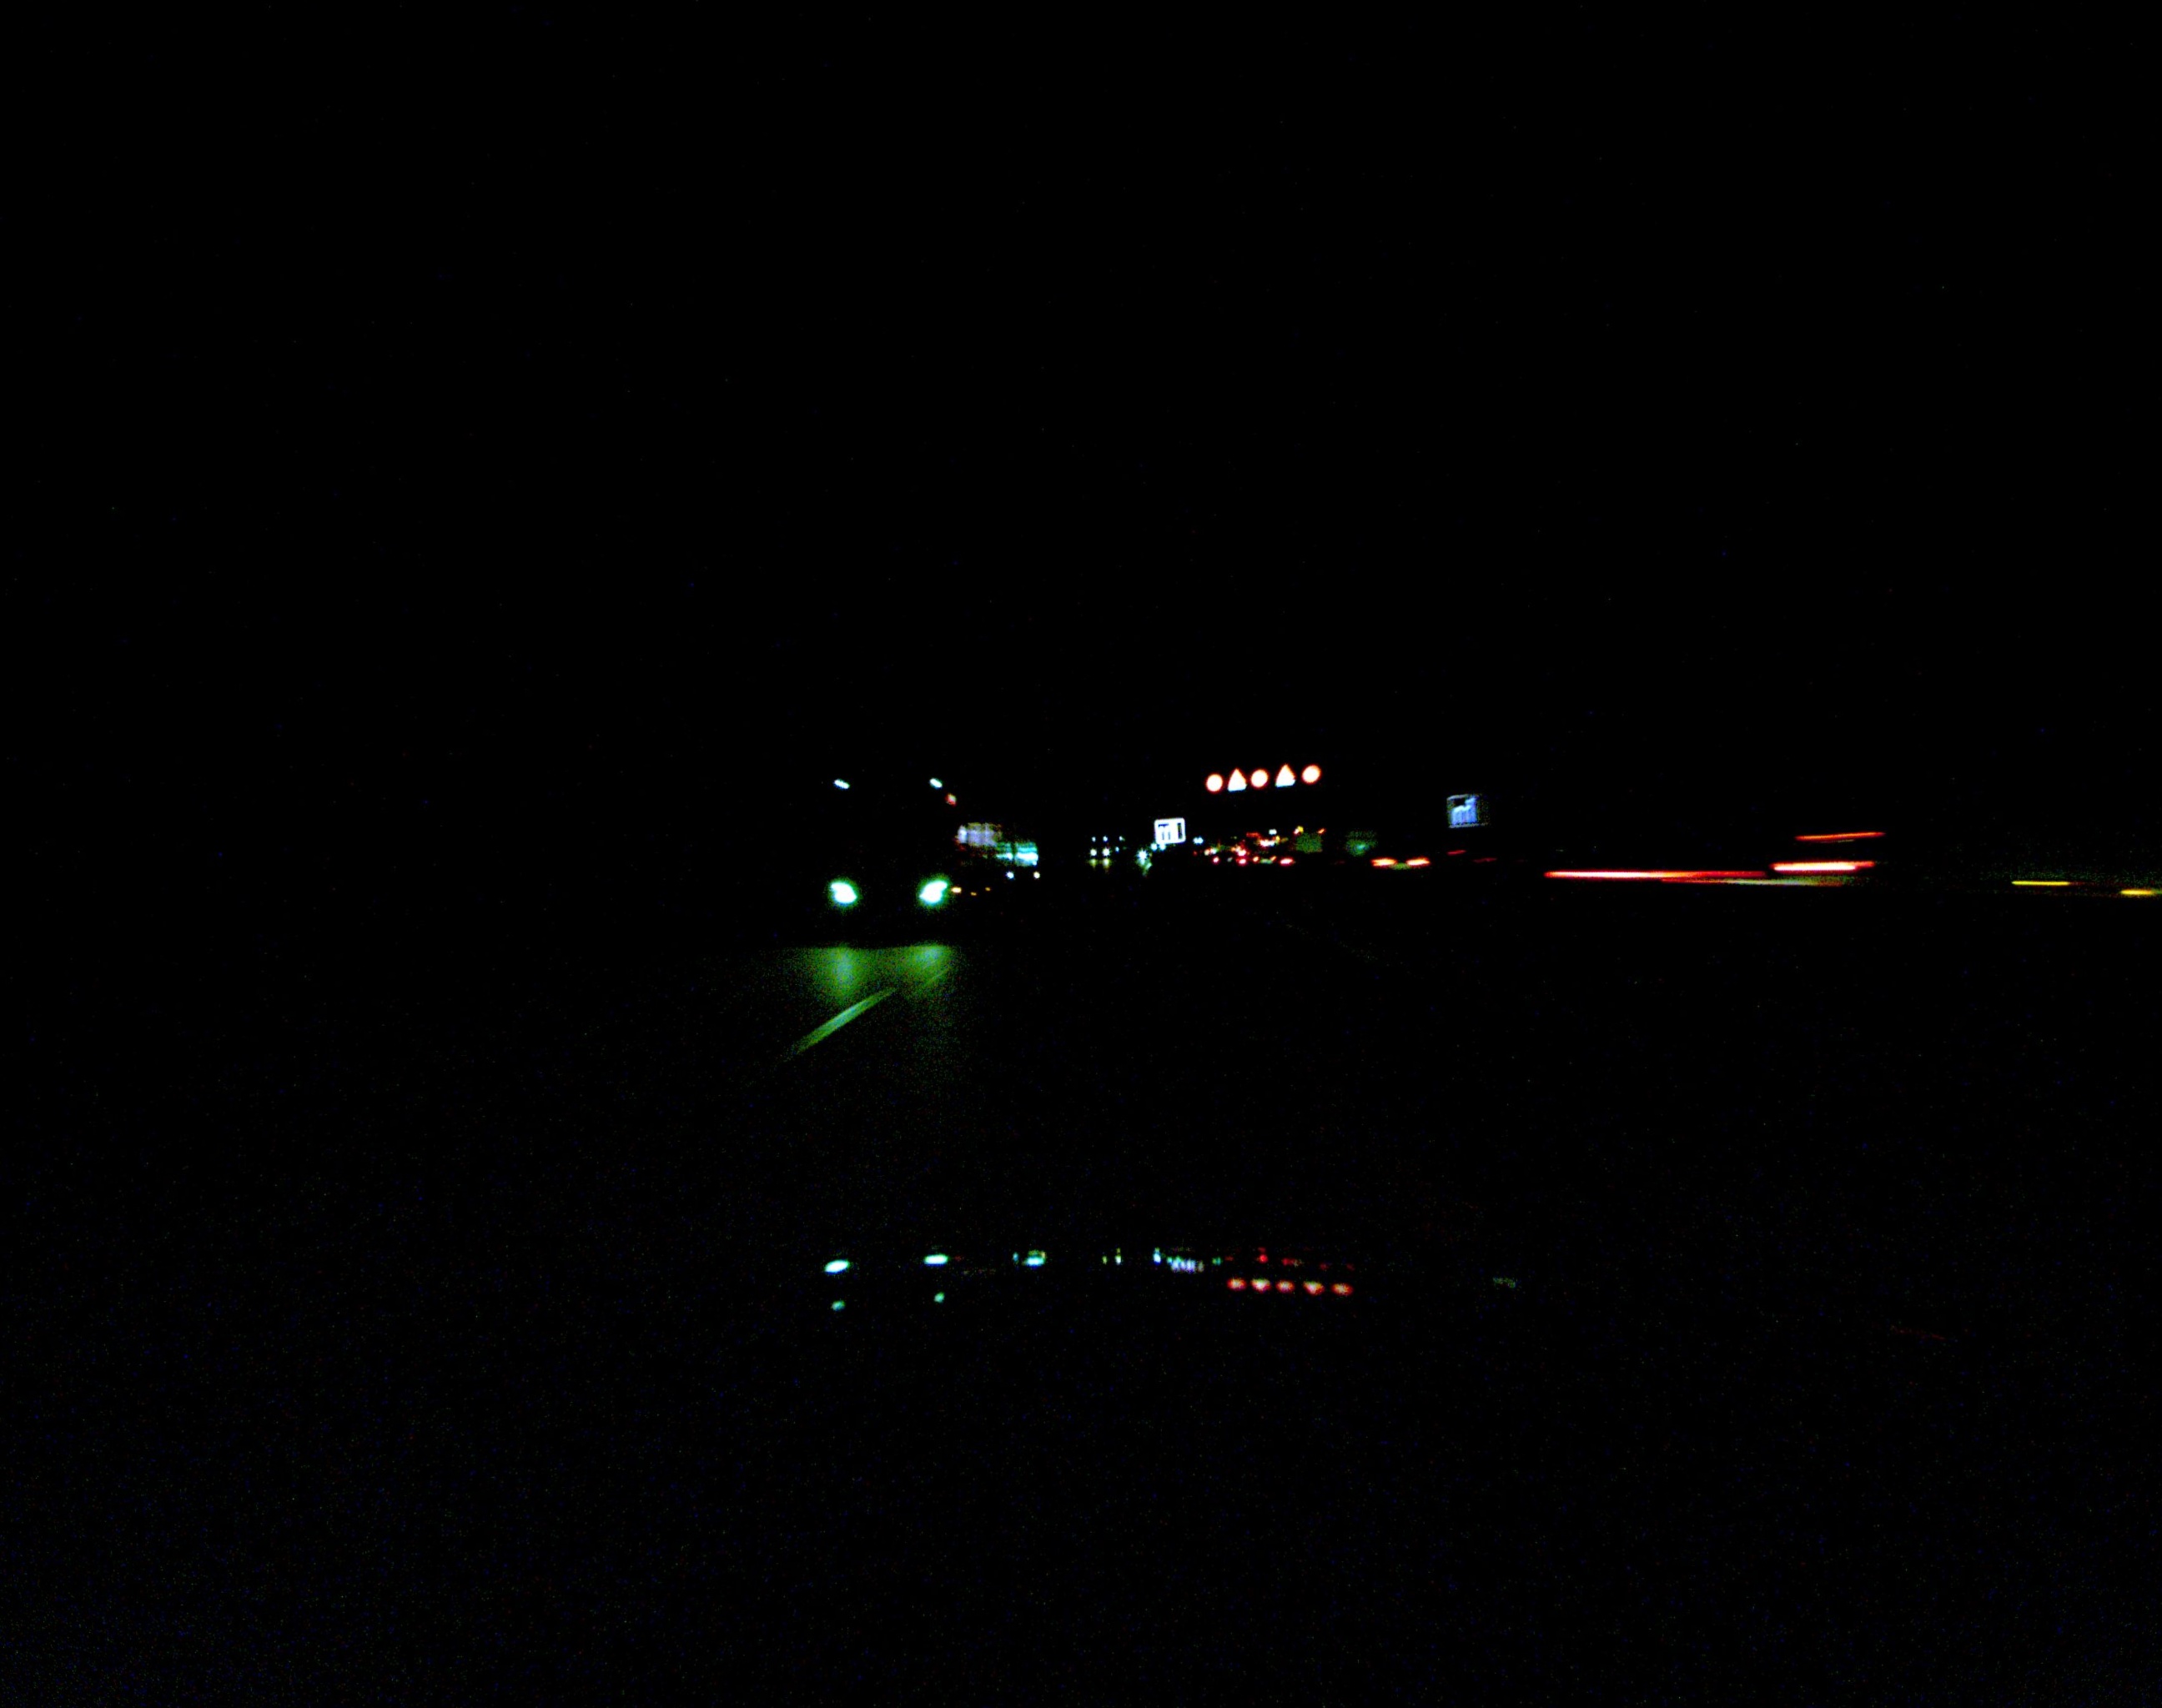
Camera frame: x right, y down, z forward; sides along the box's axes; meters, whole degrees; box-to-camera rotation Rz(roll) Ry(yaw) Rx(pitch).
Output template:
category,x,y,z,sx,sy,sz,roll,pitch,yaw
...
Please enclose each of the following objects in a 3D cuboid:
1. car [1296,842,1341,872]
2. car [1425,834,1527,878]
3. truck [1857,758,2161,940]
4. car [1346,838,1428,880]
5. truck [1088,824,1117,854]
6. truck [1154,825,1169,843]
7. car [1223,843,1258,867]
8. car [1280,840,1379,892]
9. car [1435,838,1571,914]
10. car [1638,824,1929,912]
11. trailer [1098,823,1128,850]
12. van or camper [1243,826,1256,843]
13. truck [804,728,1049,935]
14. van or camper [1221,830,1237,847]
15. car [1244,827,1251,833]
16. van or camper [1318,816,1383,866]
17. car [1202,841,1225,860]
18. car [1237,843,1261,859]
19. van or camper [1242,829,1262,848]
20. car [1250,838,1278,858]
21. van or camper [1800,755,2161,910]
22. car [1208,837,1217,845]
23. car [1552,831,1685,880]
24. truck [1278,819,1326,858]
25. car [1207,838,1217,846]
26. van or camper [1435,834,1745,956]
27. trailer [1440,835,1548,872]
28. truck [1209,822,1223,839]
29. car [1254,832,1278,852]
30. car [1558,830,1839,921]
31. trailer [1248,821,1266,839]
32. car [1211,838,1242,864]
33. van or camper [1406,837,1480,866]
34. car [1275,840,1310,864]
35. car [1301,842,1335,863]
category,x,y,z,sx,sy,sz,roll,pitch,yaw
car,12.545,0.133,40.323,1.702,1.455,3.483,-1,1,8
car,16.568,0.027,32.146,1.931,1.644,4.735,-2,2,1
truck,15.521,-0.106,11.651,1.999,2.444,5.049,-2,1,-2
car,12.329,0.152,30.935,1.711,1.521,4.857,-1,1,4
truck,3.408,-2.417,118.997,2.871,3.821,8.052,-4,6,12
truck,18.424,-4.628,173.444,2.898,3.950,4.002,-3,2,10
car,8.821,0.057,42.172,1.421,1.249,3.129,-1,1,4
car,8.082,0.319,25.199,1.908,1.483,4.867,-2,1,3
car,12.266,0.556,22.414,1.680,1.840,4.110,-5,2,1
car,15.511,0.240,17.288,1.890,1.667,5.078,-2,1,-1
trailer,5.540,-3.124,128.647,2.879,3.910,12.891,-4,3,12
van or camper,35.063,-4.112,158.094,2.273,3.361,5.697,-1,2,10
truck,-3.522,-0.502,24.734,3.490,4.111,18.710,-1,0,2
van or camper,23.516,-2.526,120.902,2.259,2.580,6.689,0,2,9
car,52.901,-7.644,241.051,2.142,1.696,5.116,-1,2,14
van or camper,17.468,-0.856,49.695,2.227,2.986,7.125,-1,1,5
car,11.498,-0.346,66.194,1.684,1.557,4.001,-1,1,5
car,15.242,-0.318,69.041,1.536,1.328,4.221,-1,1,5
van or camper,26.252,-2.489,116.725,2.450,2.746,6.490,-1,2,9
car,14.870,-0.530,61.971,1.644,1.475,4.364,-1,2,6
van or camper,19.523,-0.416,16.308,1.998,2.641,6.617,-1,0,1
car,26.376,-2.579,152.520,1.822,1.444,4.507,-1,2,11
car,20.263,-0.010,28.956,1.814,1.644,4.735,-2,2,1
truck,19.635,-1.432,67.824,2.381,3.242,7.722,0,2,3
car,24.129,-2.214,139.995,1.837,1.443,4.508,-1,0,11
van or camper,7.389,0.462,11.779,1.743,1.457,4.867,-2,1,3
trailer,20.973,-0.090,38.998,2.262,1.716,6.544,-1,1,3
truck,30.164,-5.275,169.775,2.659,3.571,8.553,-3,2,11
car,21.580,-1.395,88.872,2.135,2.255,4.565,0,1,6
car,11.845,0.302,15.063,1.903,1.515,4.347,1,2,-2
trailer,43.592,-6.071,188.083,3.440,4.218,12.842,0,3,17
car,10.568,-0.268,55.422,1.810,1.731,4.868,-1,2,6
van or camper,21.298,-0.177,44.928,2.227,1.541,5.217,-1,1,5
car,14.225,-0.175,51.324,1.644,1.531,4.001,-1,2,6
car,18.432,-0.153,59.132,1.644,1.531,4.438,-1,2,6
